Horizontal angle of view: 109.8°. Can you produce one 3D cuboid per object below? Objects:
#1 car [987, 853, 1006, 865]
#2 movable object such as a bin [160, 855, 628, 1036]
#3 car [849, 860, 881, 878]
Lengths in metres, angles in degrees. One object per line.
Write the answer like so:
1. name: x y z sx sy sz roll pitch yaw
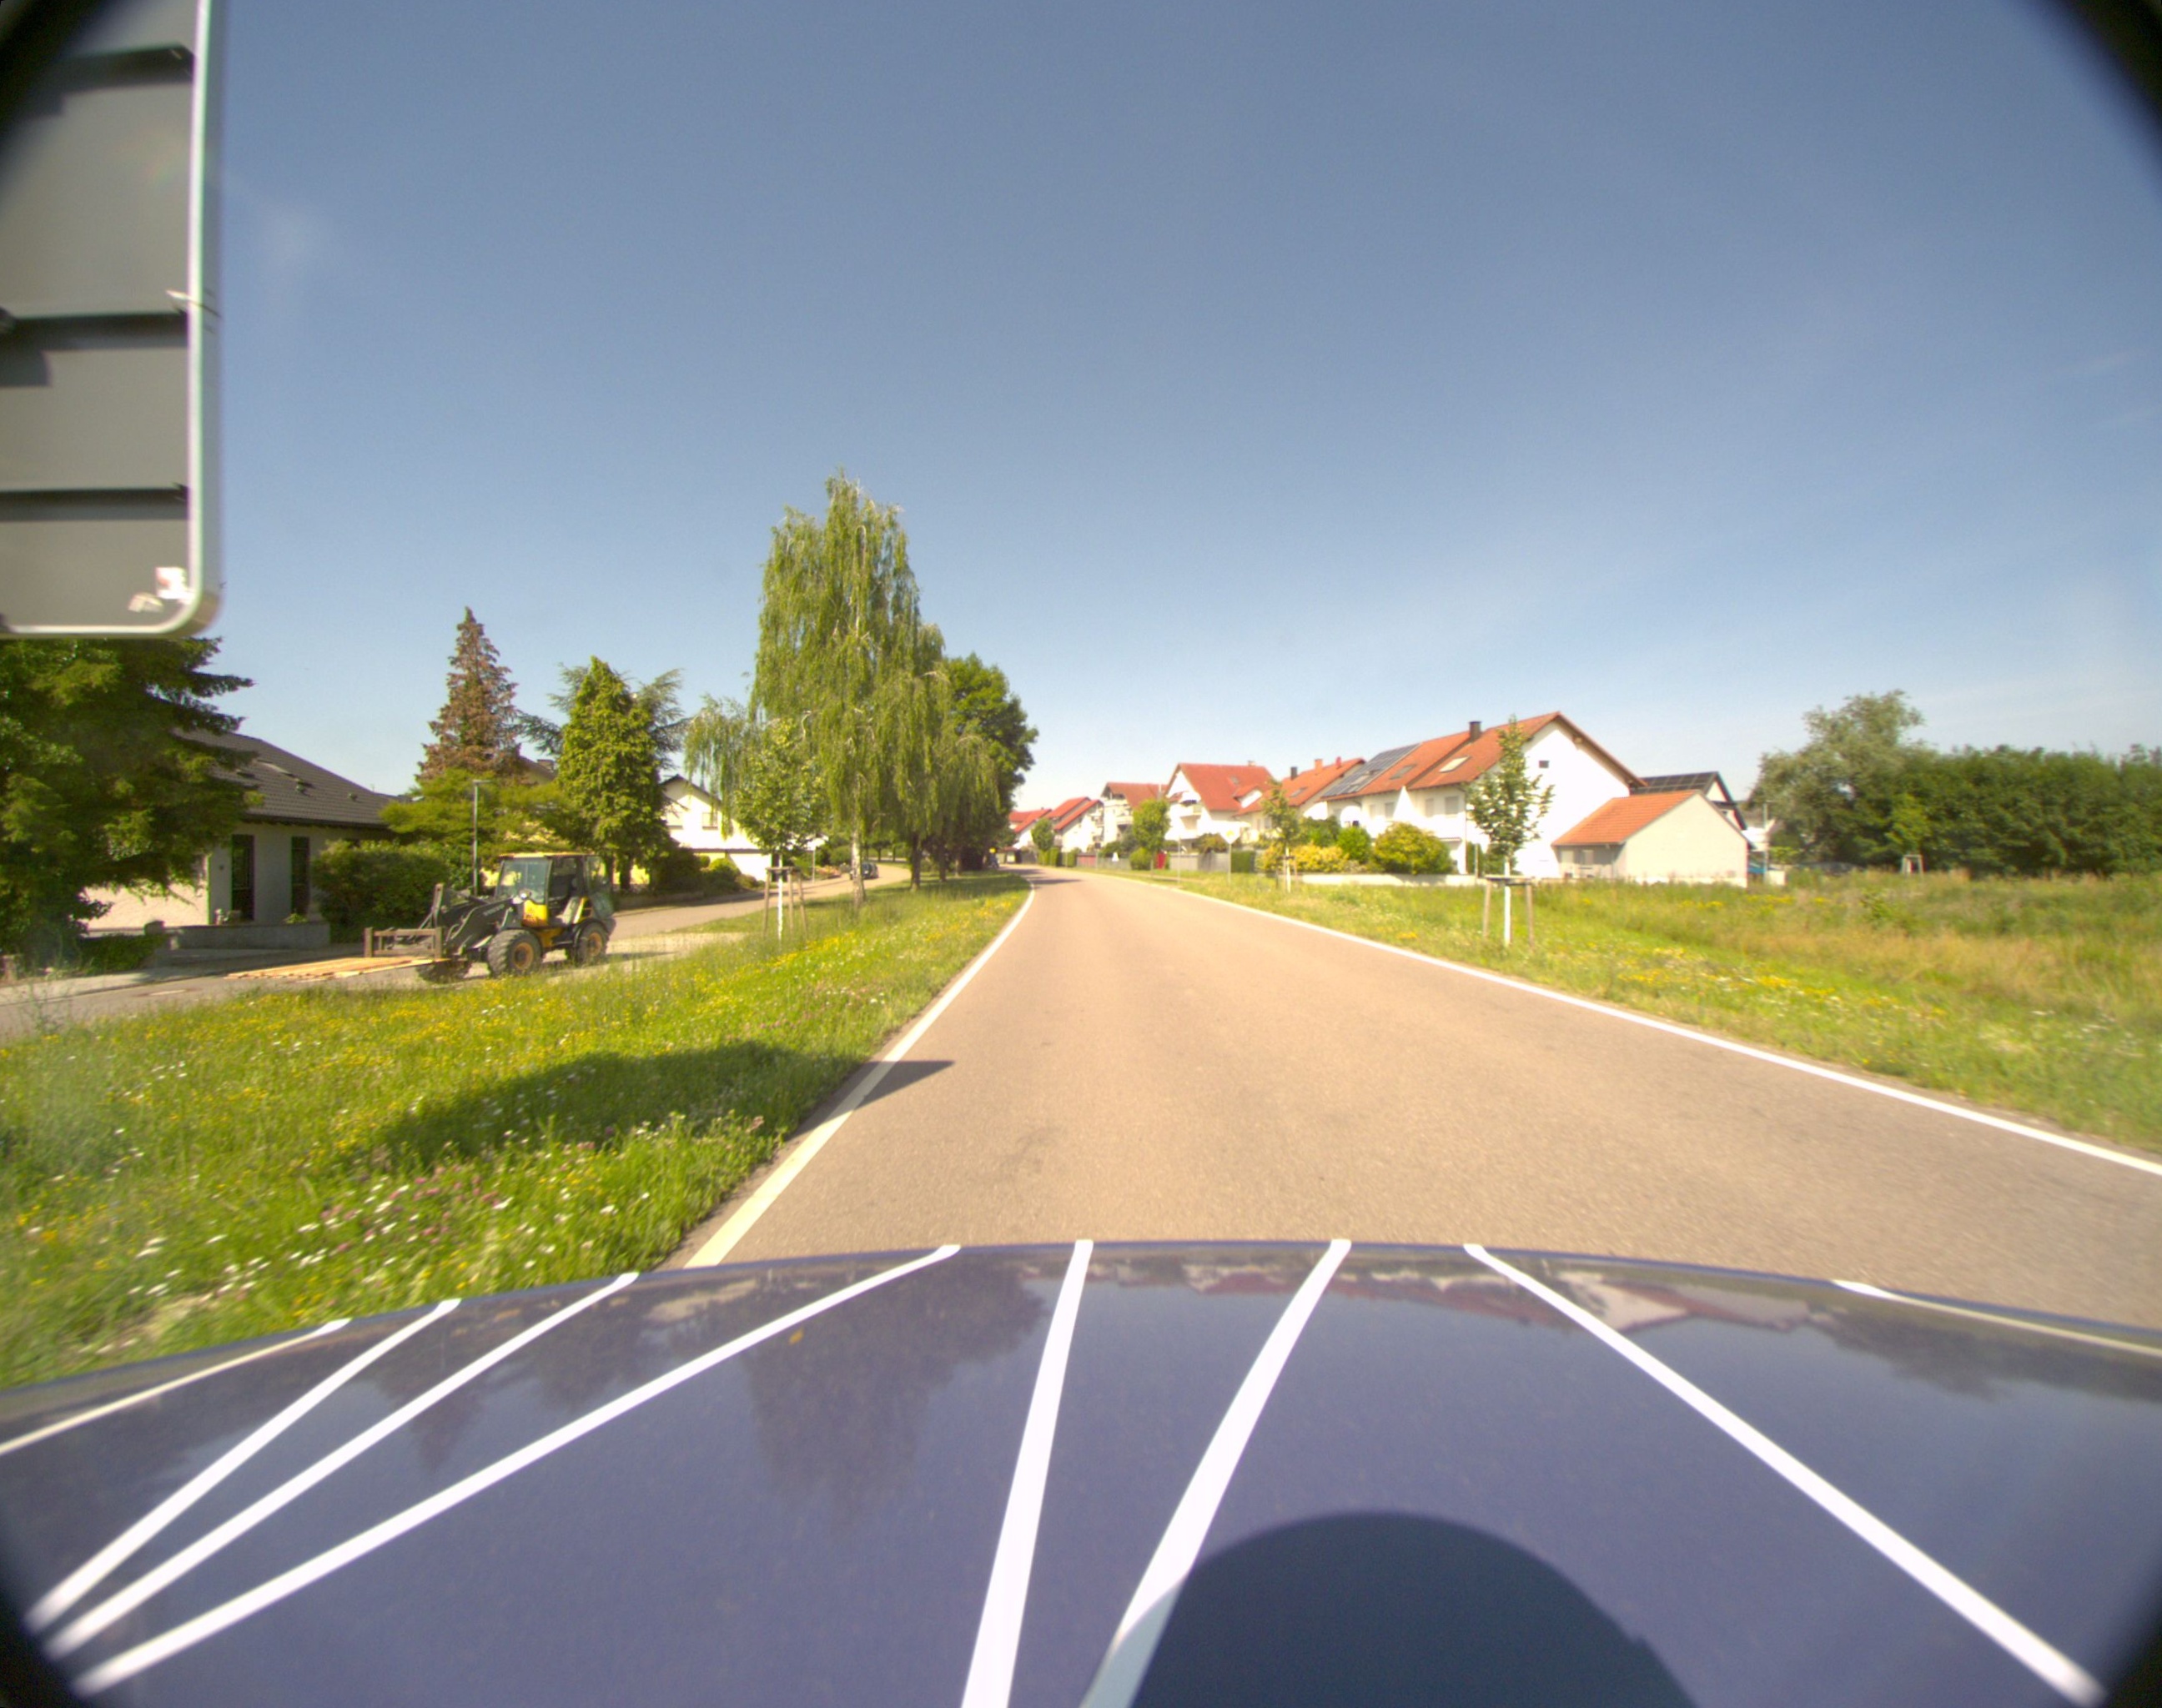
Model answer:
1. car: -11.413 0.692 102.946 1.935 1.552 3.995 -2 1 -15
2. movable object such as a bin: -11.771 1.302 14.212 2.322 2.449 6.945 -1 1 1
3. car: -19.874 1.372 70.153 1.863 1.437 4.167 -2 1 -3
